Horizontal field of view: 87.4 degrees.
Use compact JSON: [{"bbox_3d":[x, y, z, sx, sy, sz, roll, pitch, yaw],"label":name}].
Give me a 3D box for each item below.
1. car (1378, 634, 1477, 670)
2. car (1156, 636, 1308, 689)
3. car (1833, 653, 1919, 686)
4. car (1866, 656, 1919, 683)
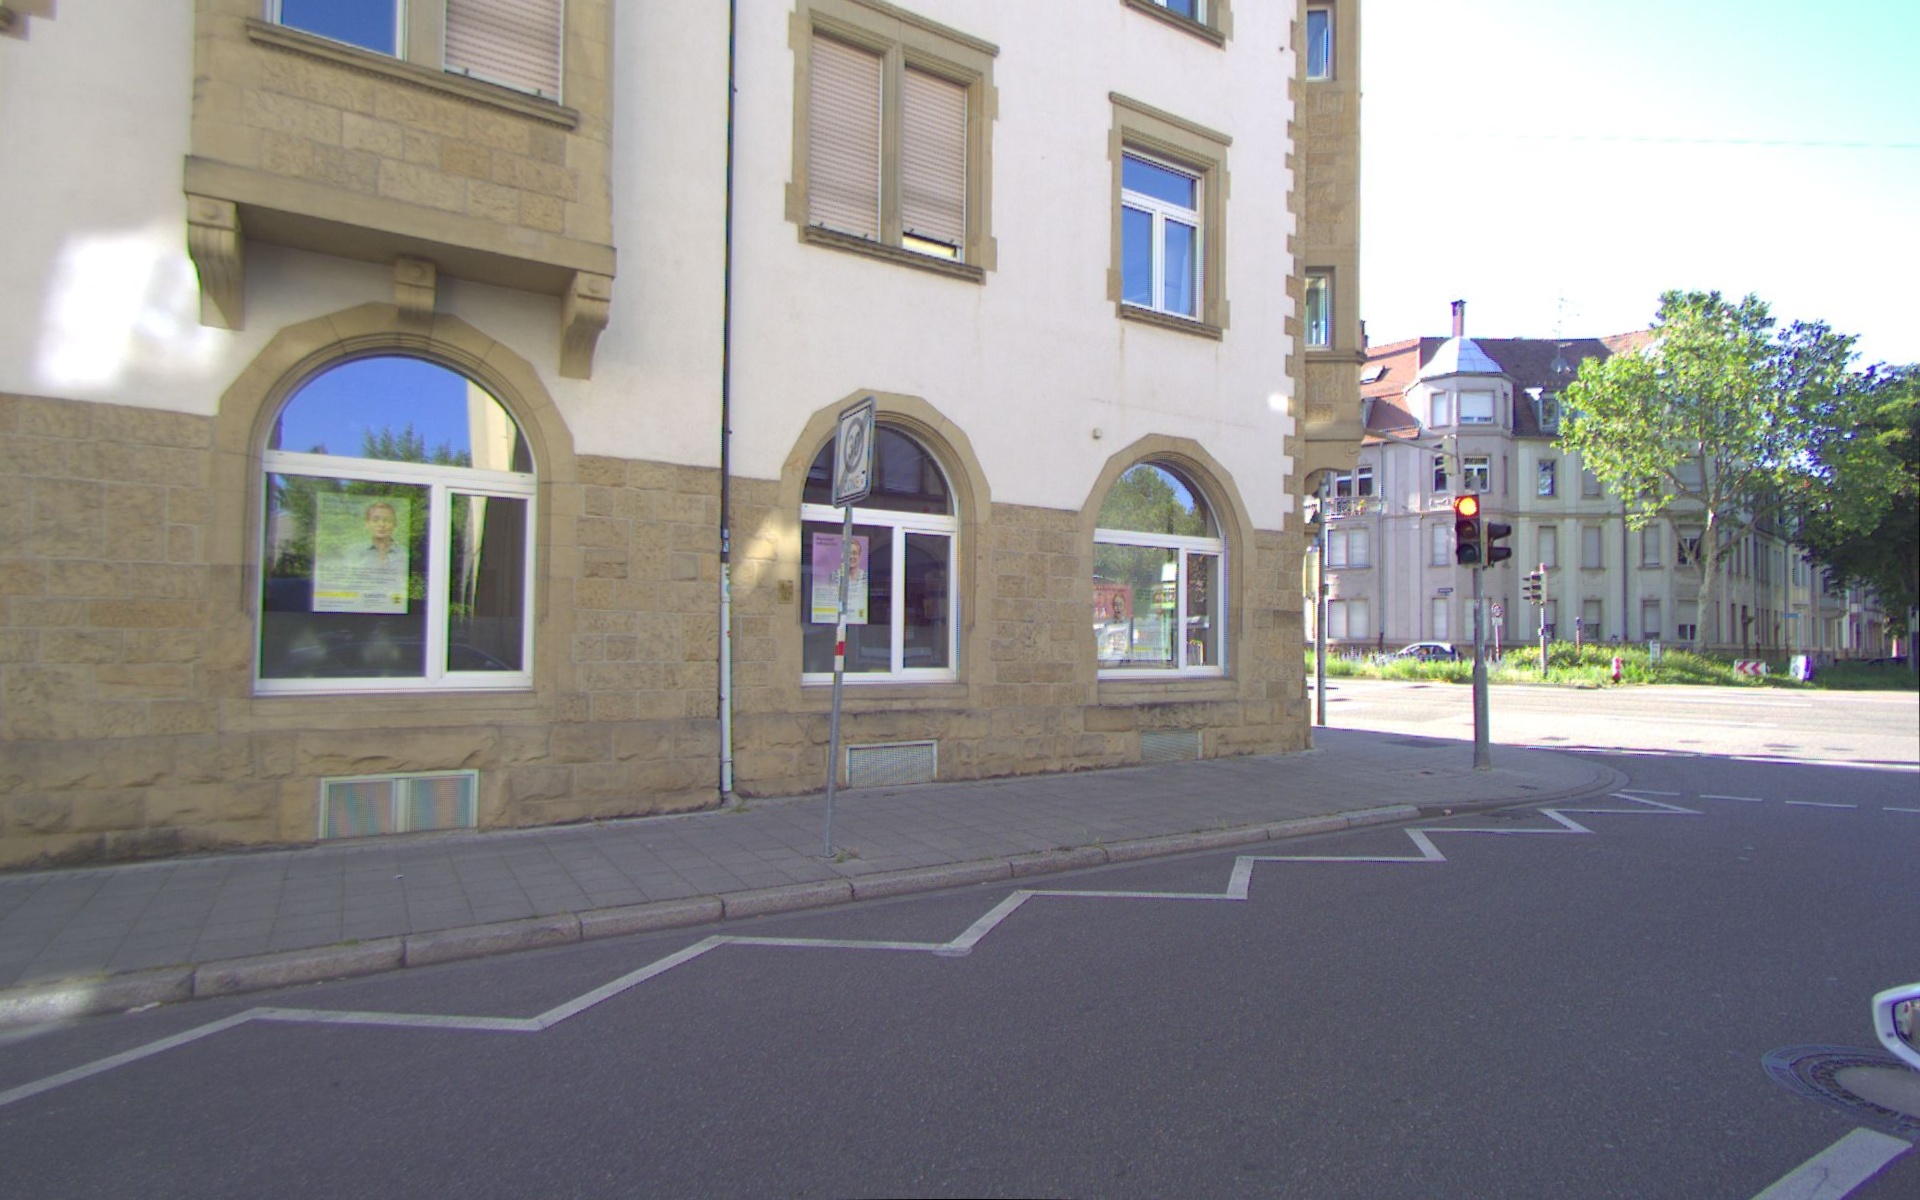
[{"bbox_3d":[20.013,2.203,43.065,3.588,1.476,1.650,-1,-2,39],"label":"car"},{"bbox_3d":[8.186,1.840,30.455,4.155,1.476,1.669,-2,-2,42],"label":"car"},{"bbox_3d":[45.461,3.413,49.502,1.647,1.476,3.595,2,-2,-44],"label":"car"},{"bbox_3d":[53.825,3.943,56.939,1.647,1.476,3.595,2,-2,-44],"label":"car"}]
